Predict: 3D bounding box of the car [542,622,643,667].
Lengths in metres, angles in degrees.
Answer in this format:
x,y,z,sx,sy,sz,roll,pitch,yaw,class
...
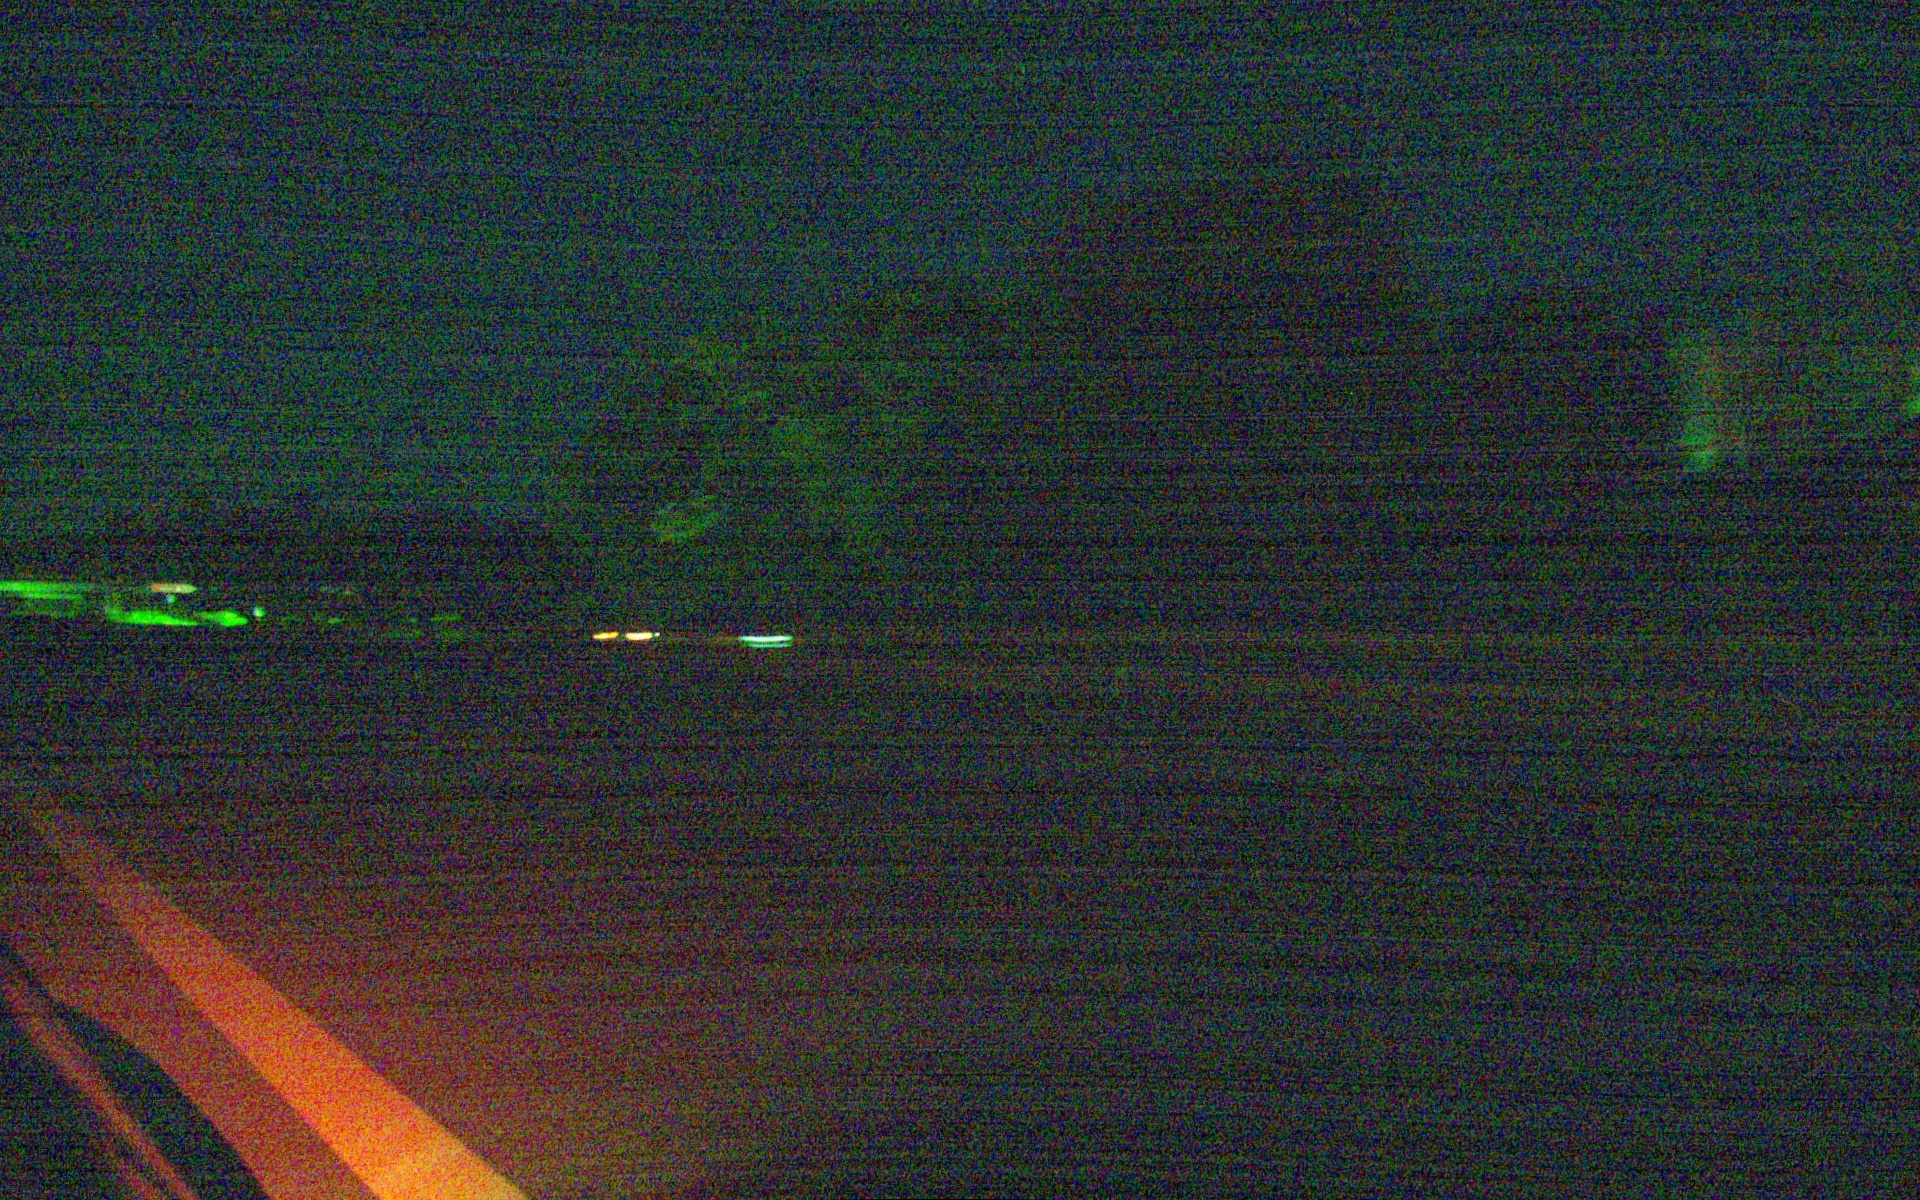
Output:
x,y,z,sx,sy,sz,roll,pitch,yaw,class
-14.068,1.656,38.639,3.998,1.530,1.973,0,0,41,car

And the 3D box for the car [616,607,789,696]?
x,y,z,sx,sy,sz,roll,pitch,yaw,class
-6.578,1.216,25.579,4.606,2.029,1.973,-1,0,41,car
